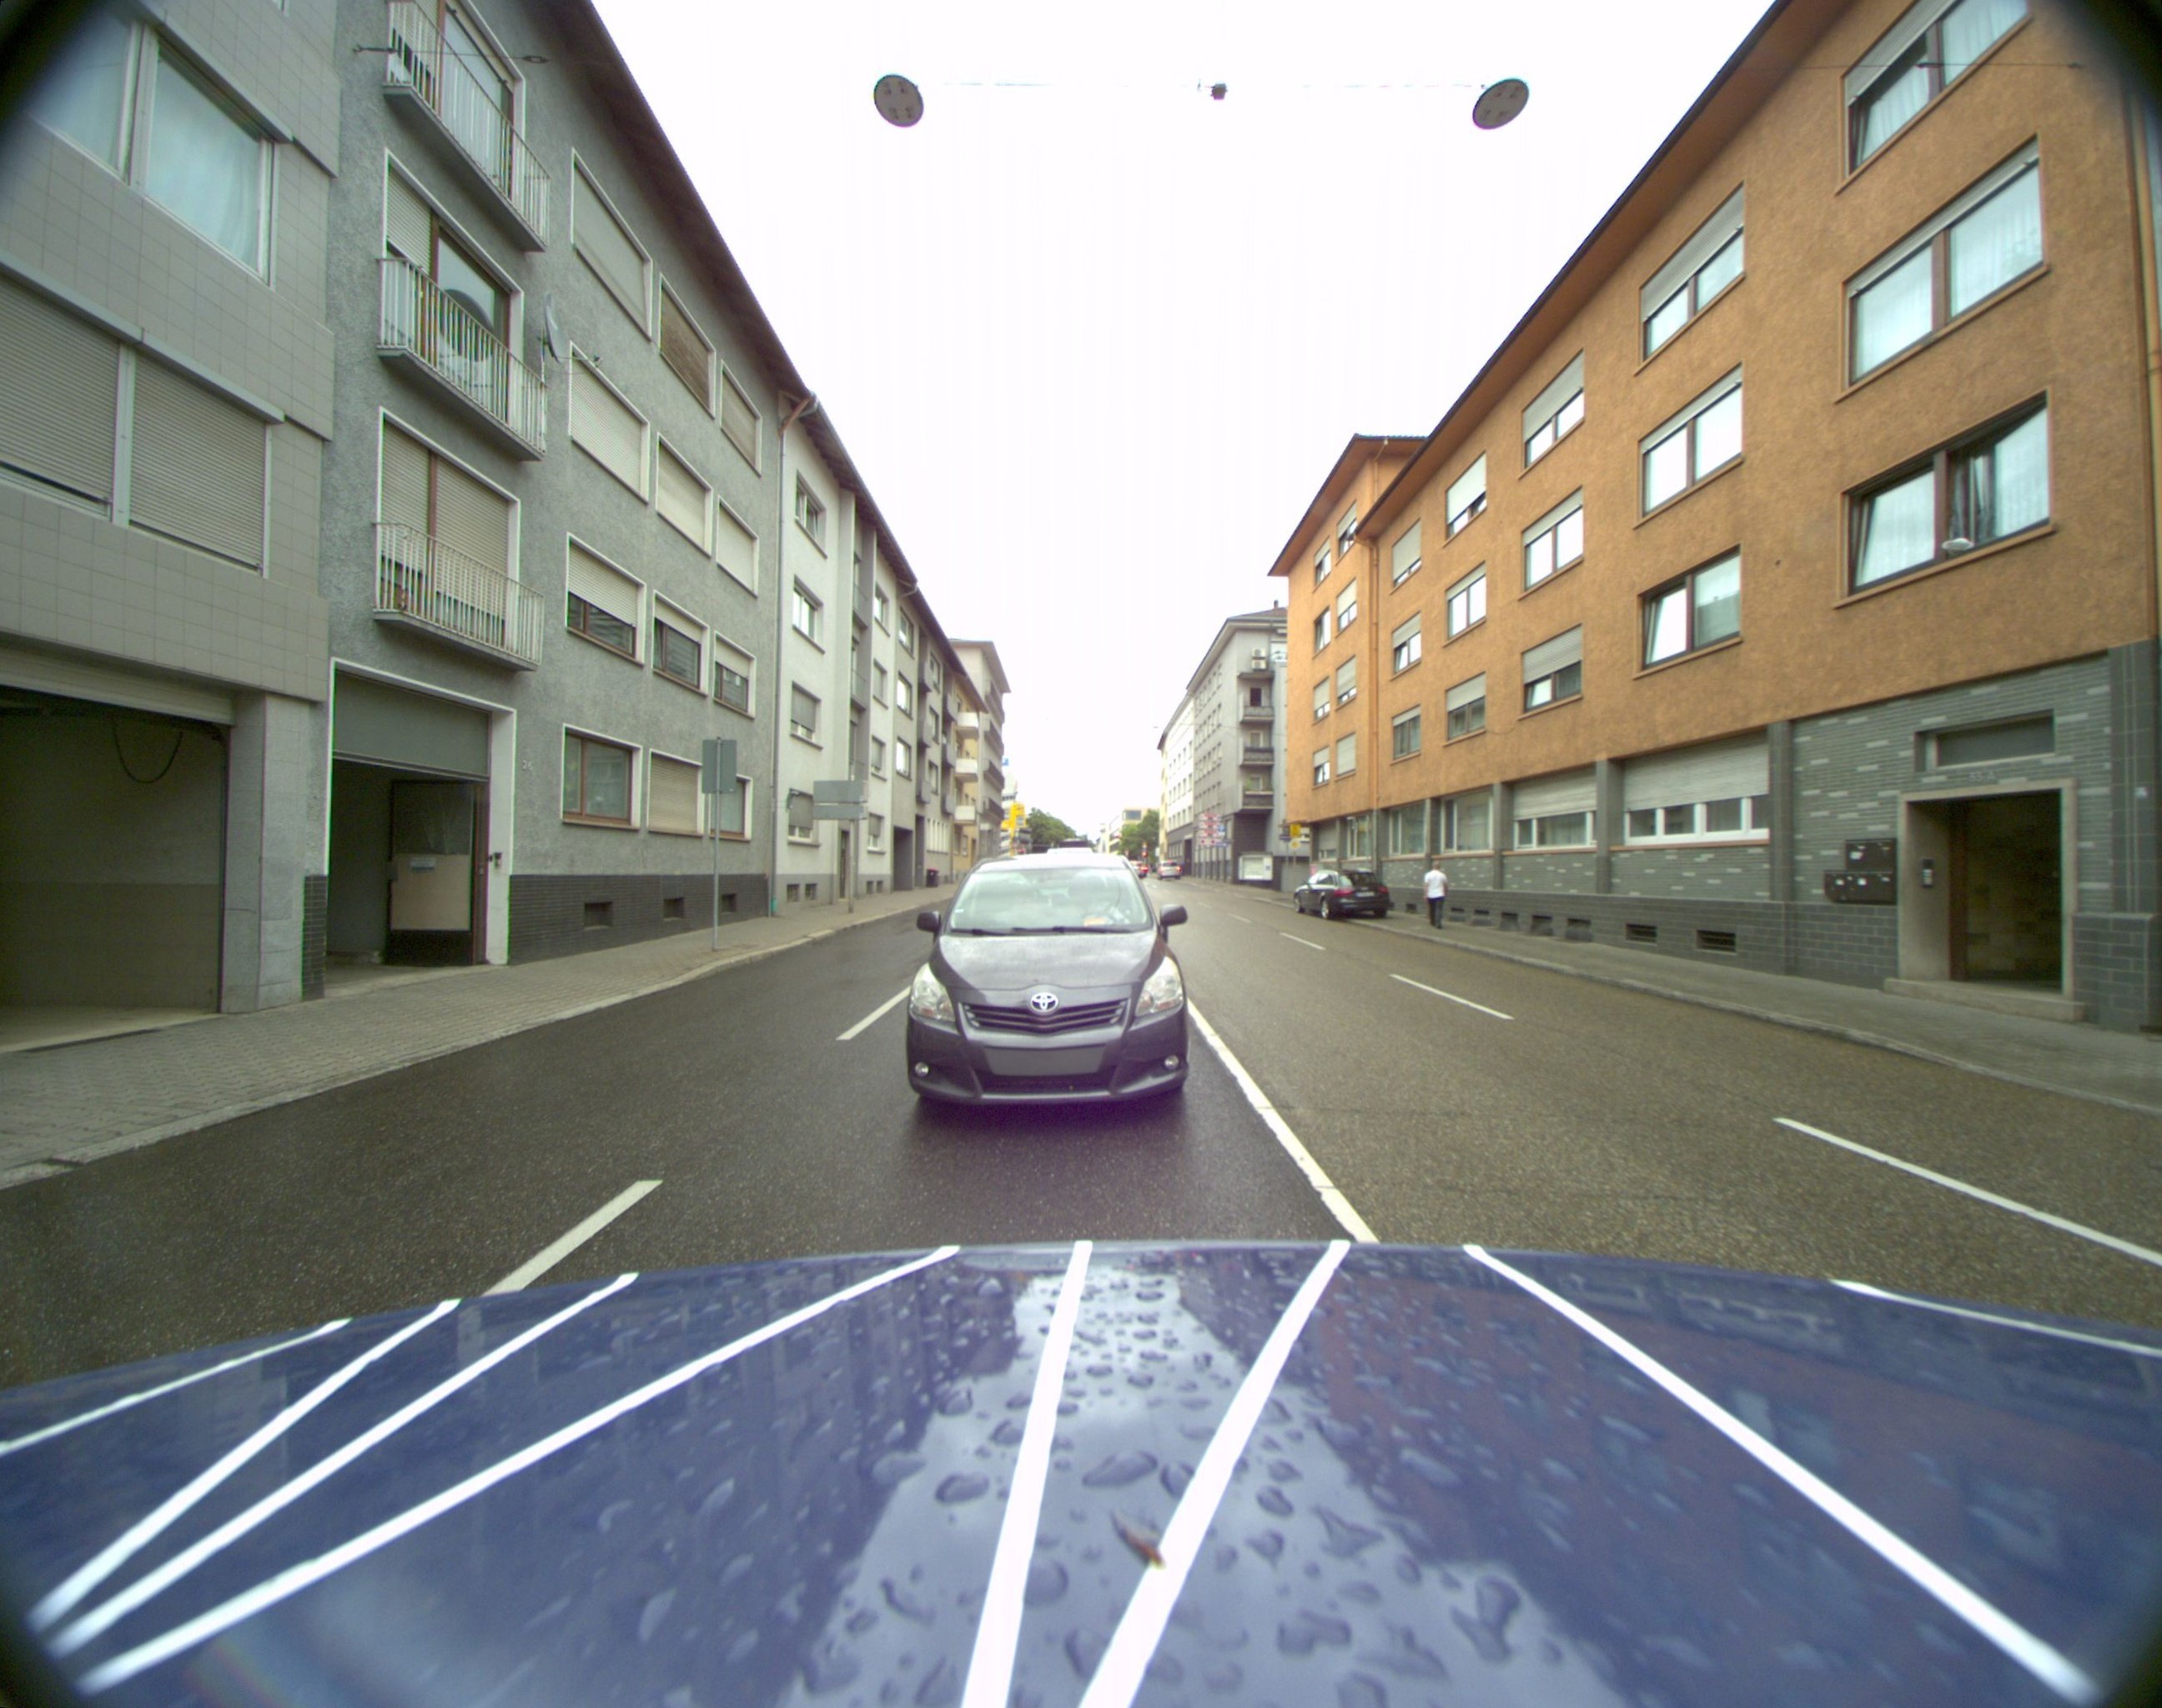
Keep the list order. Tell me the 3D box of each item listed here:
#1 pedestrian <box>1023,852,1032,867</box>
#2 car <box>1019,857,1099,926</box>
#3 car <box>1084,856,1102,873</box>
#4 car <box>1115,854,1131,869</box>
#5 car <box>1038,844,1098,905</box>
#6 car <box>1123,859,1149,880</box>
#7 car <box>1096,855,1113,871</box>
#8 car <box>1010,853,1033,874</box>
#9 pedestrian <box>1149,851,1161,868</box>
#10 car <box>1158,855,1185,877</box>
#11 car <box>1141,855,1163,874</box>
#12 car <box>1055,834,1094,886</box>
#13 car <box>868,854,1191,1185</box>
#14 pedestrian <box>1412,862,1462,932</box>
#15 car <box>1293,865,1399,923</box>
[{"bbox_3d":[-6.412,0.672,90.739,1.119,1.741,0.961,1,1,-5],"label":"pedestrian"},{"bbox_3d":[-0.506,0.898,20.097,1.856,1.524,3.792,-2,1,1],"label":"car"},{"bbox_3d":[1.348,1.171,83.391,1.856,1.712,4.217,-2,1,1],"label":"car"},{"bbox_3d":[5.350,0.918,97.366,1.856,1.712,4.217,-2,1,1],"label":"car"},{"bbox_3d":[-0.397,0.641,26.602,1.856,1.882,4.217,-2,1,1],"label":"car"},{"bbox_3d":[4.717,1.310,65.790,1.856,1.651,4.610,-2,1,1],"label":"car"},{"bbox_3d":[2.840,1.064,92.787,1.856,1.712,4.217,-2,1,1],"label":"car"},{"bbox_3d":[-5.133,0.787,65.887,1.856,1.663,4.215,-2,1,-4],"label":"car"},{"bbox_3d":[9.219,0.642,94.461,1.309,2.002,1.258,-2,1,1],"label":"pedestrian"},{"bbox_3d":[7.813,0.998,65.753,1.856,1.712,4.217,-2,1,1],"label":"car"},{"bbox_3d":[7.253,1.068,77.677,1.856,1.712,4.217,-2,1,1],"label":"car"},{"bbox_3d":[-0.333,0.300,43.645,2.033,2.731,4.368,-2,1,1],"label":"car"},{"bbox_3d":[-0.253,0.908,6.253,1.699,1.712,4.217,-2,1,1],"label":"car"},{"bbox_3d":[8.790,1.042,18.790,0.768,1.630,1.023,-2,1,5],"label":"pedestrian"},{"bbox_3d":[8.042,1.156,23.462,1.799,1.466,4.217,-2,1,1],"label":"car"}]
